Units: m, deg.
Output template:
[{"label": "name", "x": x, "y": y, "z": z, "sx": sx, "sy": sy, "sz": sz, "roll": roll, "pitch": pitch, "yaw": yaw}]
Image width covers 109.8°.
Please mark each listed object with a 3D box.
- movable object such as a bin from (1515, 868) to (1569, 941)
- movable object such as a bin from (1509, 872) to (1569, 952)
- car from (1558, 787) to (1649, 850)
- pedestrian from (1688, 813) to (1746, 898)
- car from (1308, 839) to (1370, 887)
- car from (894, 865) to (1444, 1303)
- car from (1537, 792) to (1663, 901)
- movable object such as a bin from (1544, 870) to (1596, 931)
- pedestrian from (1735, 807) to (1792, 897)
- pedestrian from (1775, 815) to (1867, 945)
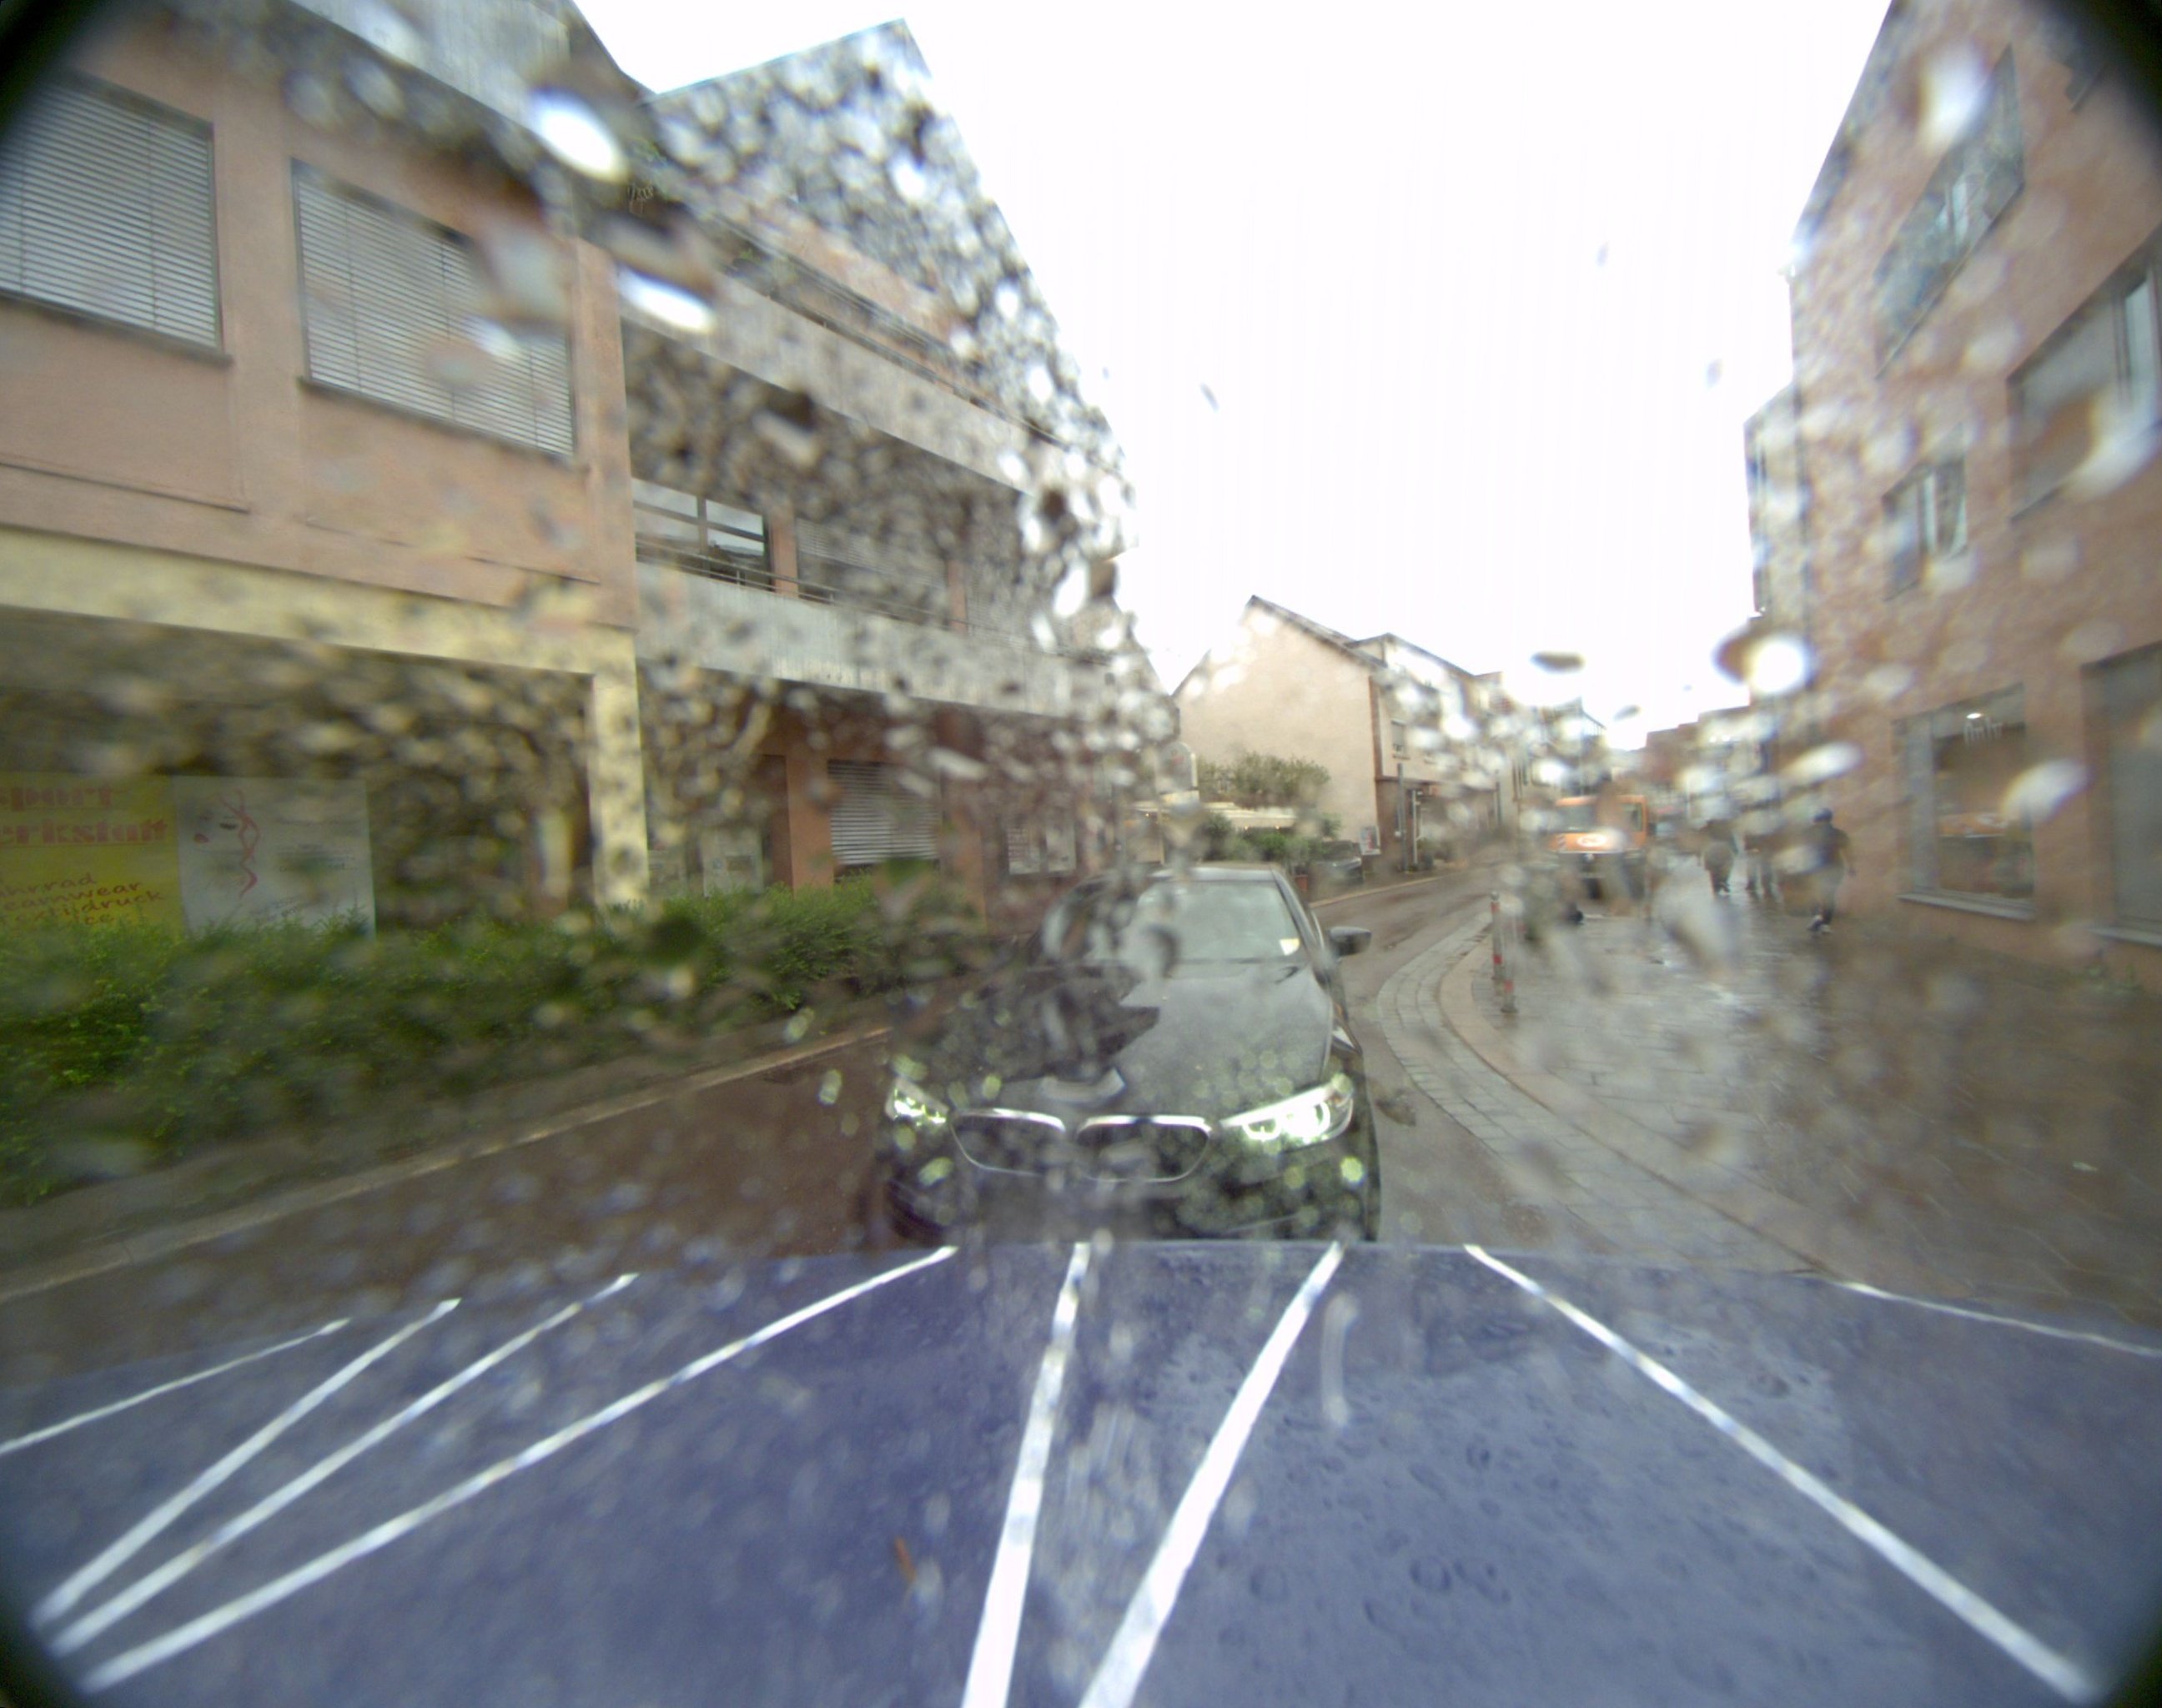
[{"label": "movable object such as a bin", "x": 7.013, "y": 0.760, "z": 11.569, "sx": 0.657, "sy": 1.031, "sz": 0.611, "roll": -2, "pitch": 1, "yaw": 31}, {"label": "movable object such as a bin", "x": 6.304, "y": 0.787, "z": 10.470, "sx": 0.657, "sy": 1.031, "sz": 0.611, "roll": -3, "pitch": 1, "yaw": 31}, {"label": "car", "x": 27.795, "y": -1.799, "z": 40.179, "sx": 2.705, "sy": 2.857, "sz": 8.861, "roll": -3, "pitch": 0, "yaw": 42}, {"label": "pedestrian", "x": 12.795, "y": 0.021, "z": 15.308, "sx": 0.715, "sy": 1.630, "sz": 0.747, "roll": -4, "pitch": 0, "yaw": 33}, {"label": "car", "x": 8.468, "y": 0.240, "z": 25.049, "sx": 1.735, "sy": 1.349, "sz": 3.941, "roll": -3, "pitch": 1, "yaw": 18}, {"label": "car", "x": 0.619, "y": 0.893, "z": 4.988, "sx": 1.946, "sy": 1.394, "sz": 4.422, "roll": -3, "pitch": 1, "yaw": 9}, {"label": "car", "x": 12.713, "y": -0.249, "z": 18.417, "sx": 1.994, "sy": 2.227, "sz": 5.872, "roll": -2, "pitch": 1, "yaw": 39}, {"label": "movable object such as a bin", "x": 7.935, "y": 0.749, "z": 12.322, "sx": 0.582, "sy": 0.921, "sz": 0.482, "roll": -6, "pitch": -1, "yaw": 41}, {"label": "pedestrian", "x": 13.390, "y": -0.043, "z": 14.927, "sx": 0.623, "sy": 1.702, "sz": 0.810, "roll": -4, "pitch": 0, "yaw": 33}, {"label": "pedestrian", "x": 9.537, "y": 0.323, "z": 9.819, "sx": 0.660, "sy": 1.600, "sz": 0.685, "roll": -3, "pitch": 1, "yaw": 30}]
